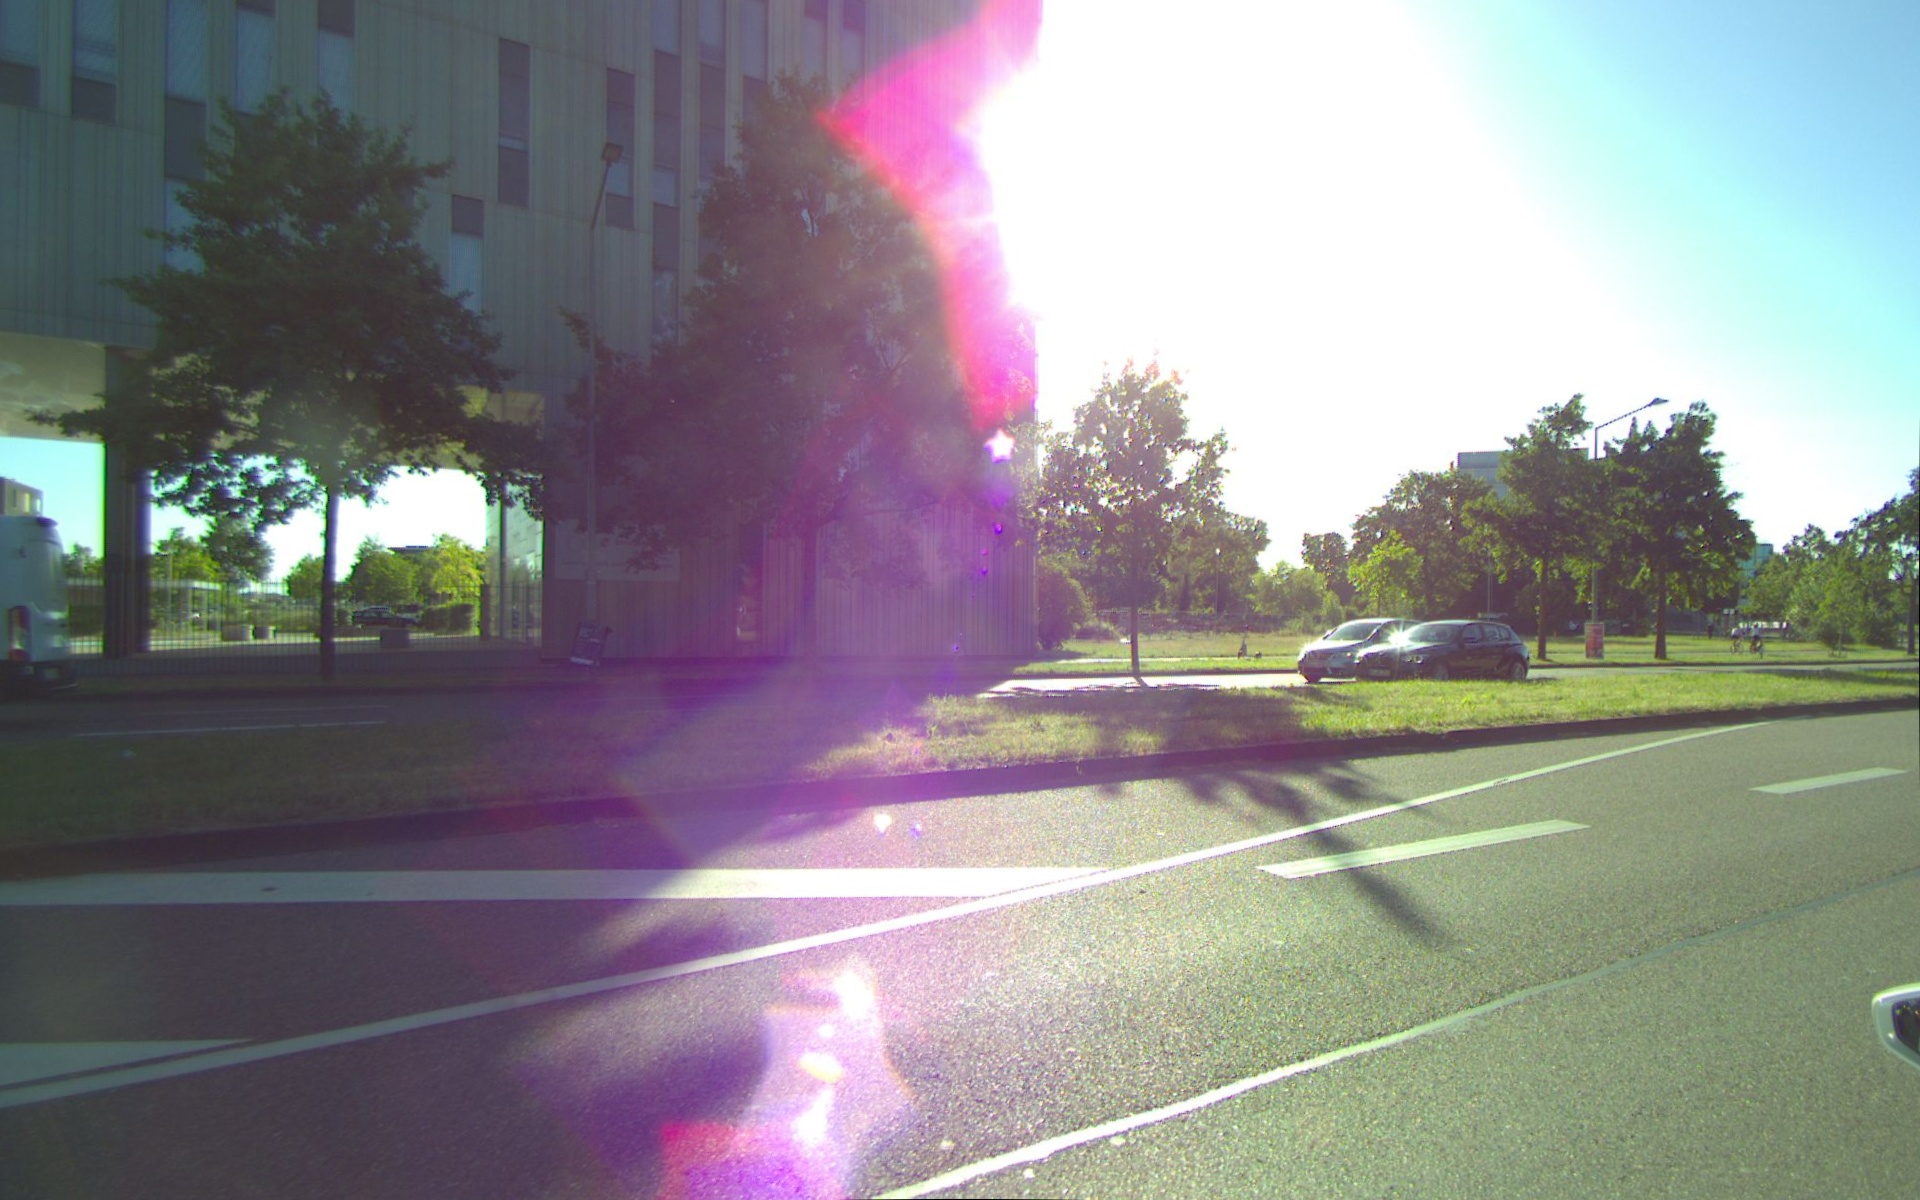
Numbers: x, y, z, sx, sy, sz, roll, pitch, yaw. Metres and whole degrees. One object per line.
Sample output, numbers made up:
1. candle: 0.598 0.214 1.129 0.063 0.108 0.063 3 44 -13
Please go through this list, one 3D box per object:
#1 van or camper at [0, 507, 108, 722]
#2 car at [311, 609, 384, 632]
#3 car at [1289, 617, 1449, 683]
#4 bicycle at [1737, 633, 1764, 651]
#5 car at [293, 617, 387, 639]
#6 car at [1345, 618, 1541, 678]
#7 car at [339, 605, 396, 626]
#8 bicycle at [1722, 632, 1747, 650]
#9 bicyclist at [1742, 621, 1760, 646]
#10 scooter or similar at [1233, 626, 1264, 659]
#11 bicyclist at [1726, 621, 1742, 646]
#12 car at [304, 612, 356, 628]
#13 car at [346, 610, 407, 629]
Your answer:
1. van or camper: -13.285 0.164 10.846 5.924 2.400 1.984 1 -2 -31
2. car: -33.827 1.136 55.575 3.402 1.233 1.423 1 -1 -30
3. car: 10.119 1.192 24.765 4.005 1.496 1.679 1 -1 -33
4. bicycle: 45.528 2.398 57.827 2.073 1.017 0.567 1 -1 -32
5. car: -27.110 1.226 44.029 3.402 0.926 1.423 1 -1 -30
6. car: 10.175 0.968 21.086 4.128 1.126 1.818 1 -1 -33
7. car: -41.382 1.094 70.174 3.405 1.402 1.422 1 -1 -33
8. bicycle: 45.484 2.398 58.993 2.073 1.017 0.484 1 -1 -32
9. bicyclist: 45.553 1.938 57.843 0.739 1.411 0.559 1 -1 -31
10. scooter or similar: 10.526 1.544 36.640 1.312 1.164 0.230 1 -1 -31
11. bicyclist: 45.399 1.962 58.937 0.835 1.413 0.479 1 -1 -32
12. car: -49.217 1.536 78.567 3.405 1.209 1.359 1 -1 -33
13. car: -38.360 1.292 66.075 3.402 1.233 1.423 1 -1 -30
